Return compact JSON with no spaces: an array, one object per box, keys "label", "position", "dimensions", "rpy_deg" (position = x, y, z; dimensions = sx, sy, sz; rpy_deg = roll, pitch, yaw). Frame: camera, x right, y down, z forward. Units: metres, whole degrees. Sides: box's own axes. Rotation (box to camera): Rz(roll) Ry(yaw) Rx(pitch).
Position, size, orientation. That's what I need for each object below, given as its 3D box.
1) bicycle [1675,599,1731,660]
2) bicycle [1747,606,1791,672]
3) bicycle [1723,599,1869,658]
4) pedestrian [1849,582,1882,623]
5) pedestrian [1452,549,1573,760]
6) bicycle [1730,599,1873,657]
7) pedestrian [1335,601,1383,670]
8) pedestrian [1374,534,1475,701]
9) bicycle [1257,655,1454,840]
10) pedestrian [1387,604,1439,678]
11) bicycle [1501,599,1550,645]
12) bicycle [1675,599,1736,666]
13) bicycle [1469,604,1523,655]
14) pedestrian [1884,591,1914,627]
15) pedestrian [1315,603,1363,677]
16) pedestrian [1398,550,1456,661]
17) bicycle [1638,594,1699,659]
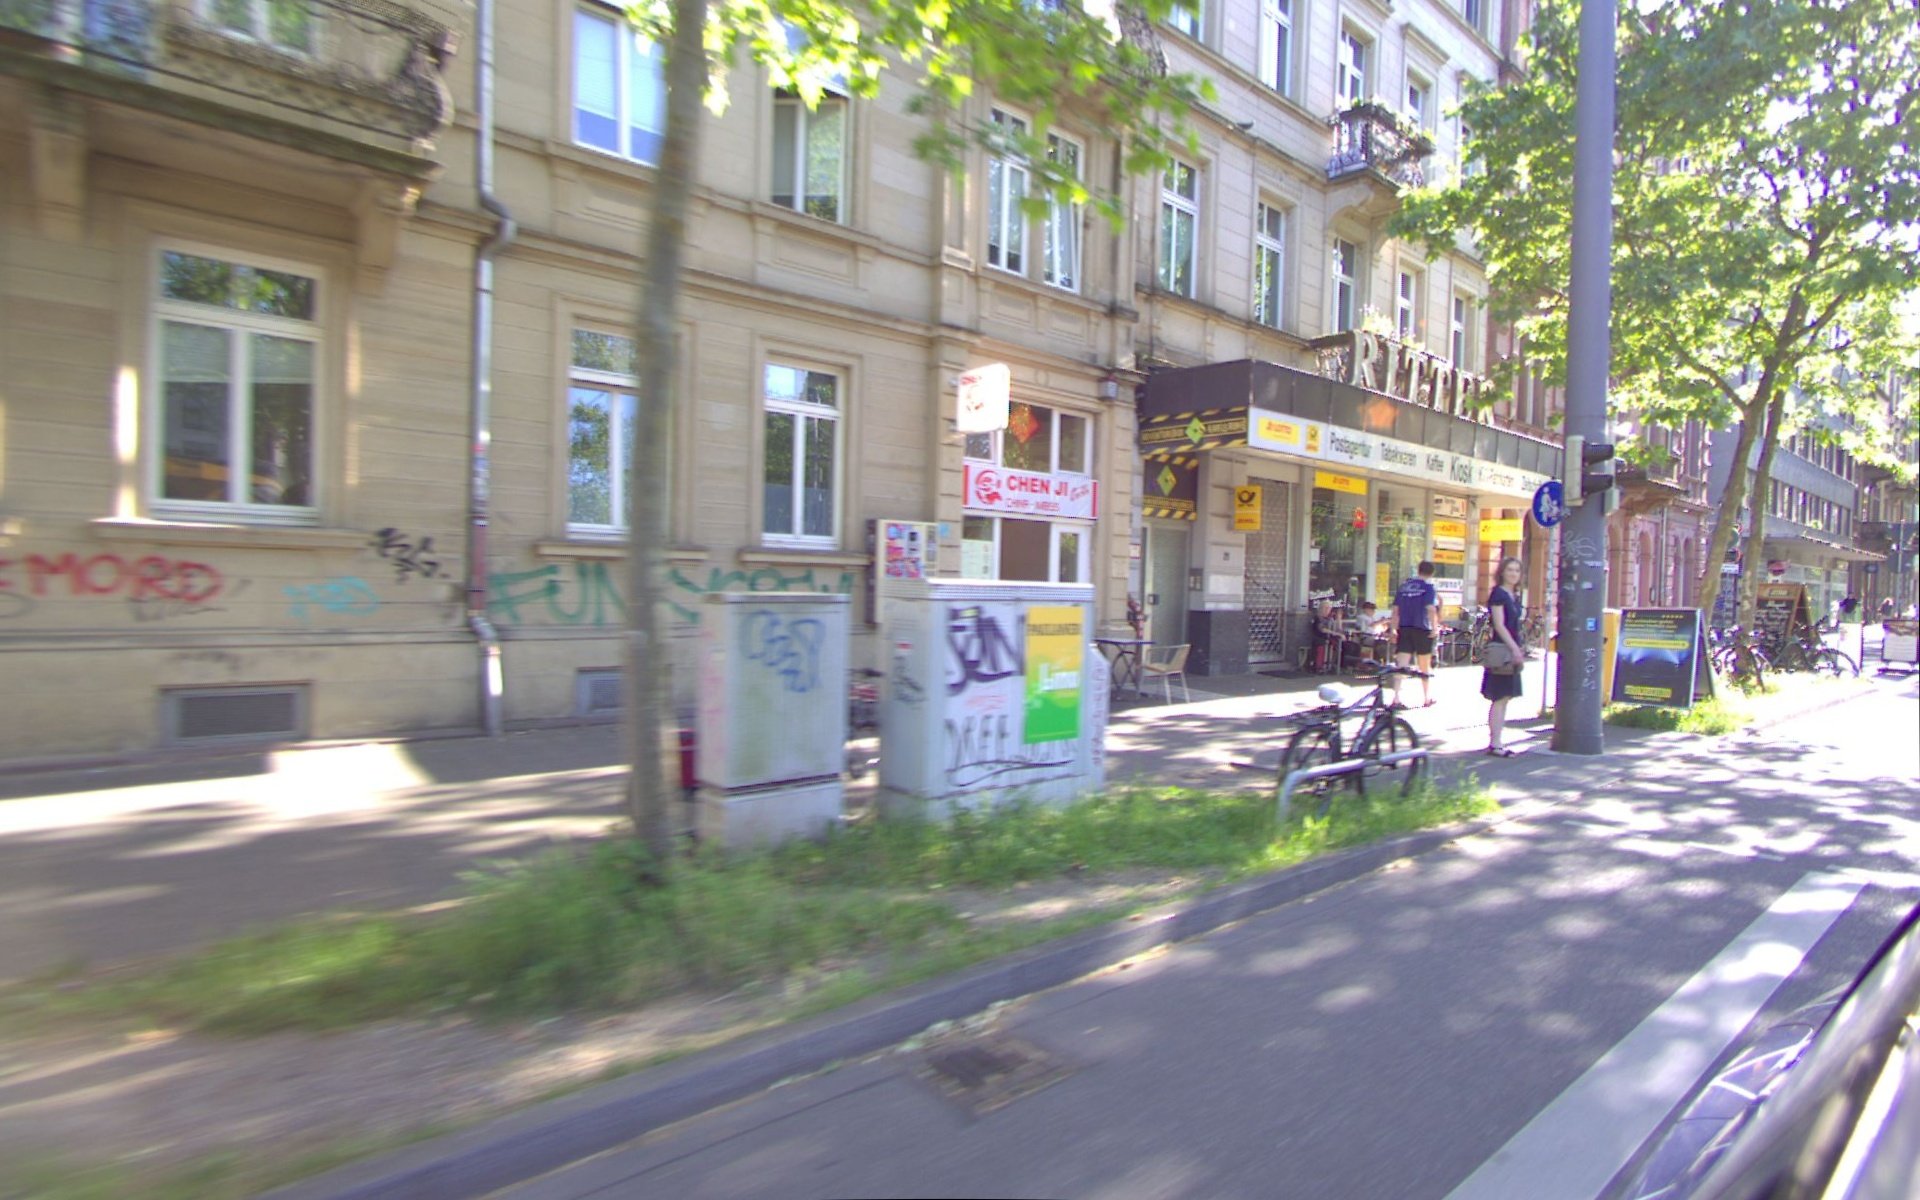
[{"label":"bicycle","position":[12.918,0.496,17.574],"dimensions":[1.659,1.006,0.443],"rpy_deg":[0,0,-42]},{"label":"bicycle","position":[13.006,0.600,16.293],"dimensions":[0.441,1.006,1.667],"rpy_deg":[0,0,35]},{"label":"bicycle","position":[15.173,0.491,18.420],"dimensions":[0.436,1.006,2.017],"rpy_deg":[1,0,-42]},{"label":"pedestrian","position":[41.665,0.116,46.561],"dimensions":[0.702,1.863,1.002],"rpy_deg":[0,1,-38]},{"label":"pedestrian","position":[4.988,0.466,9.139],"dimensions":[0.852,1.794,0.644],"rpy_deg":[1,-1,-34]},{"label":"bicycle","position":[15.546,0.495,18.743],"dimensions":[0.436,1.006,2.006],"rpy_deg":[1,0,-42]},{"label":"pedestrian","position":[7.007,0.615,17.775],"dimensions":[0.644,1.176,0.602],"rpy_deg":[0,-1,39]},{"label":"pedestrian","position":[5.935,0.210,12.938],"dimensions":[0.840,2.039,0.884],"rpy_deg":[1,-1,-37]},{"label":"bicycle","position":[2.582,0.880,6.510],"dimensions":[1.719,0.982,0.428],"rpy_deg":[0,0,-41]},{"label":"pedestrian","position":[7.374,0.652,16.486],"dimensions":[0.766,1.176,0.465],"rpy_deg":[0,-1,25]},{"label":"bicycle","position":[12.768,0.486,22.836],"dimensions":[1.659,1.006,0.443],"rpy_deg":[0,0,-42]},{"label":"bicycle","position":[11.850,0.496,16.076],"dimensions":[1.659,1.006,0.443],"rpy_deg":[0,0,-42]},{"label":"bicycle","position":[11.003,0.591,20.759],"dimensions":[1.659,1.006,0.443],"rpy_deg":[0,0,-42]},{"label":"pedestrian","position":[46.840,0.454,50.489],"dimensions":[0.702,1.783,1.001],"rpy_deg":[1,-1,-40]},{"label":"pedestrian","position":[6.177,0.637,16.526],"dimensions":[0.643,1.176,0.671],"rpy_deg":[0,0,14]},{"label":"pedestrian","position":[7.898,0.094,17.129],"dimensions":[0.758,1.833,0.470],"rpy_deg":[0,-1,-9]},{"label":"bicycle","position":[11.518,0.417,16.438],"dimensions":[1.659,1.006,0.443],"rpy_deg":[0,0,-42]}]
